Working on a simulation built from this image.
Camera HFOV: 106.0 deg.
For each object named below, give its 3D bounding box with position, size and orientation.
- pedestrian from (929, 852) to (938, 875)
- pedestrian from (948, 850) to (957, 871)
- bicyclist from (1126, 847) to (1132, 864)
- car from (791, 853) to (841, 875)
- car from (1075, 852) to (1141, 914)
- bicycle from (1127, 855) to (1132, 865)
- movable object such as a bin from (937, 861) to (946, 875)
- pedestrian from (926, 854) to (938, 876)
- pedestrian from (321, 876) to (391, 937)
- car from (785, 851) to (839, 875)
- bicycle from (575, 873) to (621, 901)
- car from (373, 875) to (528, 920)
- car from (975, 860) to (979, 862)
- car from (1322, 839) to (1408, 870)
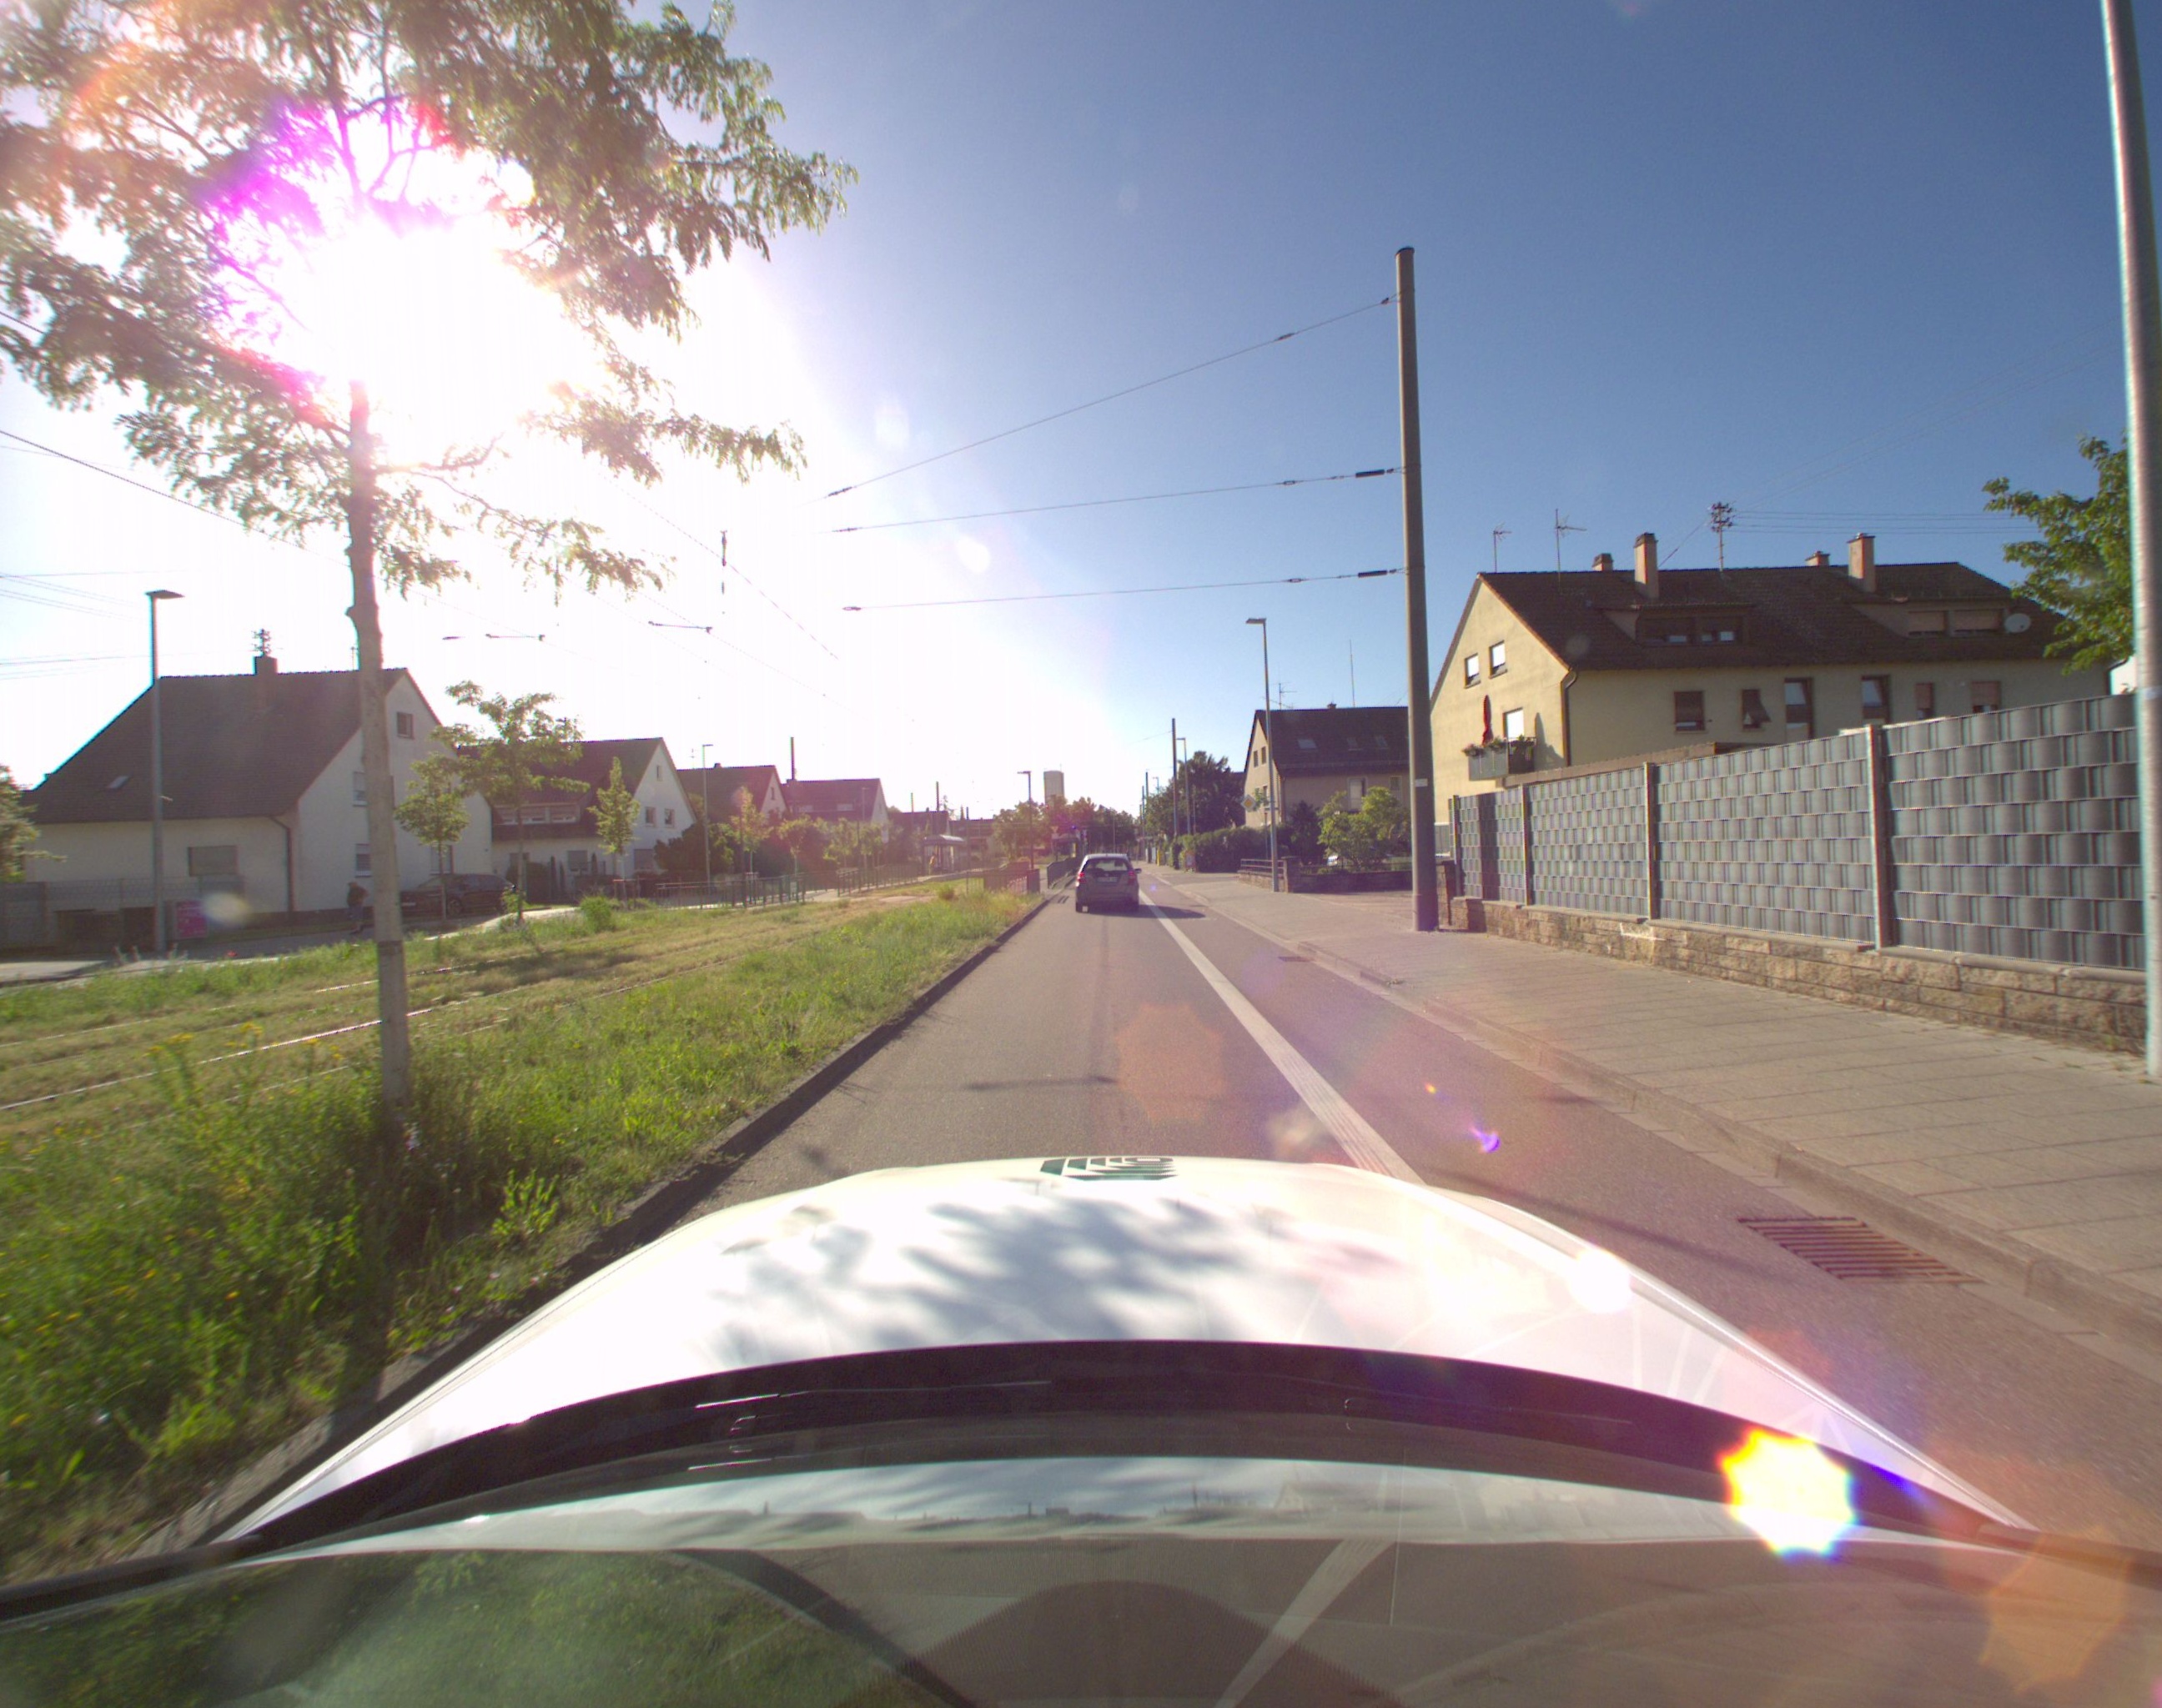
[{"bbox_3d":[-11.079,0.681,61.359,0.518,1.708,0.580,-2,0,-3],"label":"pedestrian"},{"bbox_3d":[-10.860,0.529,68.779,0.498,1.696,0.772,-5,0,2],"label":"pedestrian"},{"bbox_3d":[4.704,0.156,79.607,0.596,1.701,0.684,-1,-1,2],"label":"bicyclist"},{"bbox_3d":[-23.242,0.882,71.515,3.839,1.806,1.796,-1,-1,-6],"label":"car"},{"bbox_3d":[0.726,0.745,22.390,1.664,1.536,3.487,-1,0,1],"label":"car"},{"bbox_3d":[4.749,0.625,79.860,0.473,0.961,1.658,-1,-1,2],"label":"bicycle"},{"bbox_3d":[-10.279,1.036,60.134,0.545,0.988,0.741,-2,0,-2],"label":"movable object such as a bin"},{"bbox_3d":[-10.940,0.791,59.846,0.673,1.535,0.748,-2,0,-3],"label":"pedestrian"},{"bbox_3d":[-20.709,1.483,23.301,0.961,1.640,1.086,-2,0,1],"label":"pedestrian"},{"bbox_3d":[-22.684,0.754,68.714,3.982,1.970,1.929,-1,-1,-6],"label":"car"},{"bbox_3d":[-25.921,1.763,43.742,1.985,1.365,0.703,-2,0,-5],"label":"bicycle"},{"bbox_3d":[-24.687,1.637,32.181,1.927,1.450,5.165,-2,0,2],"label":"car"},{"bbox_3d":[-19.383,1.282,151.579,0.695,0.336,0.330,-1,-1,6],"label":"car"},{"bbox_3d":[15.797,0.056,45.368,4.131,1.511,1.799,-2,-2,-4],"label":"car"}]
